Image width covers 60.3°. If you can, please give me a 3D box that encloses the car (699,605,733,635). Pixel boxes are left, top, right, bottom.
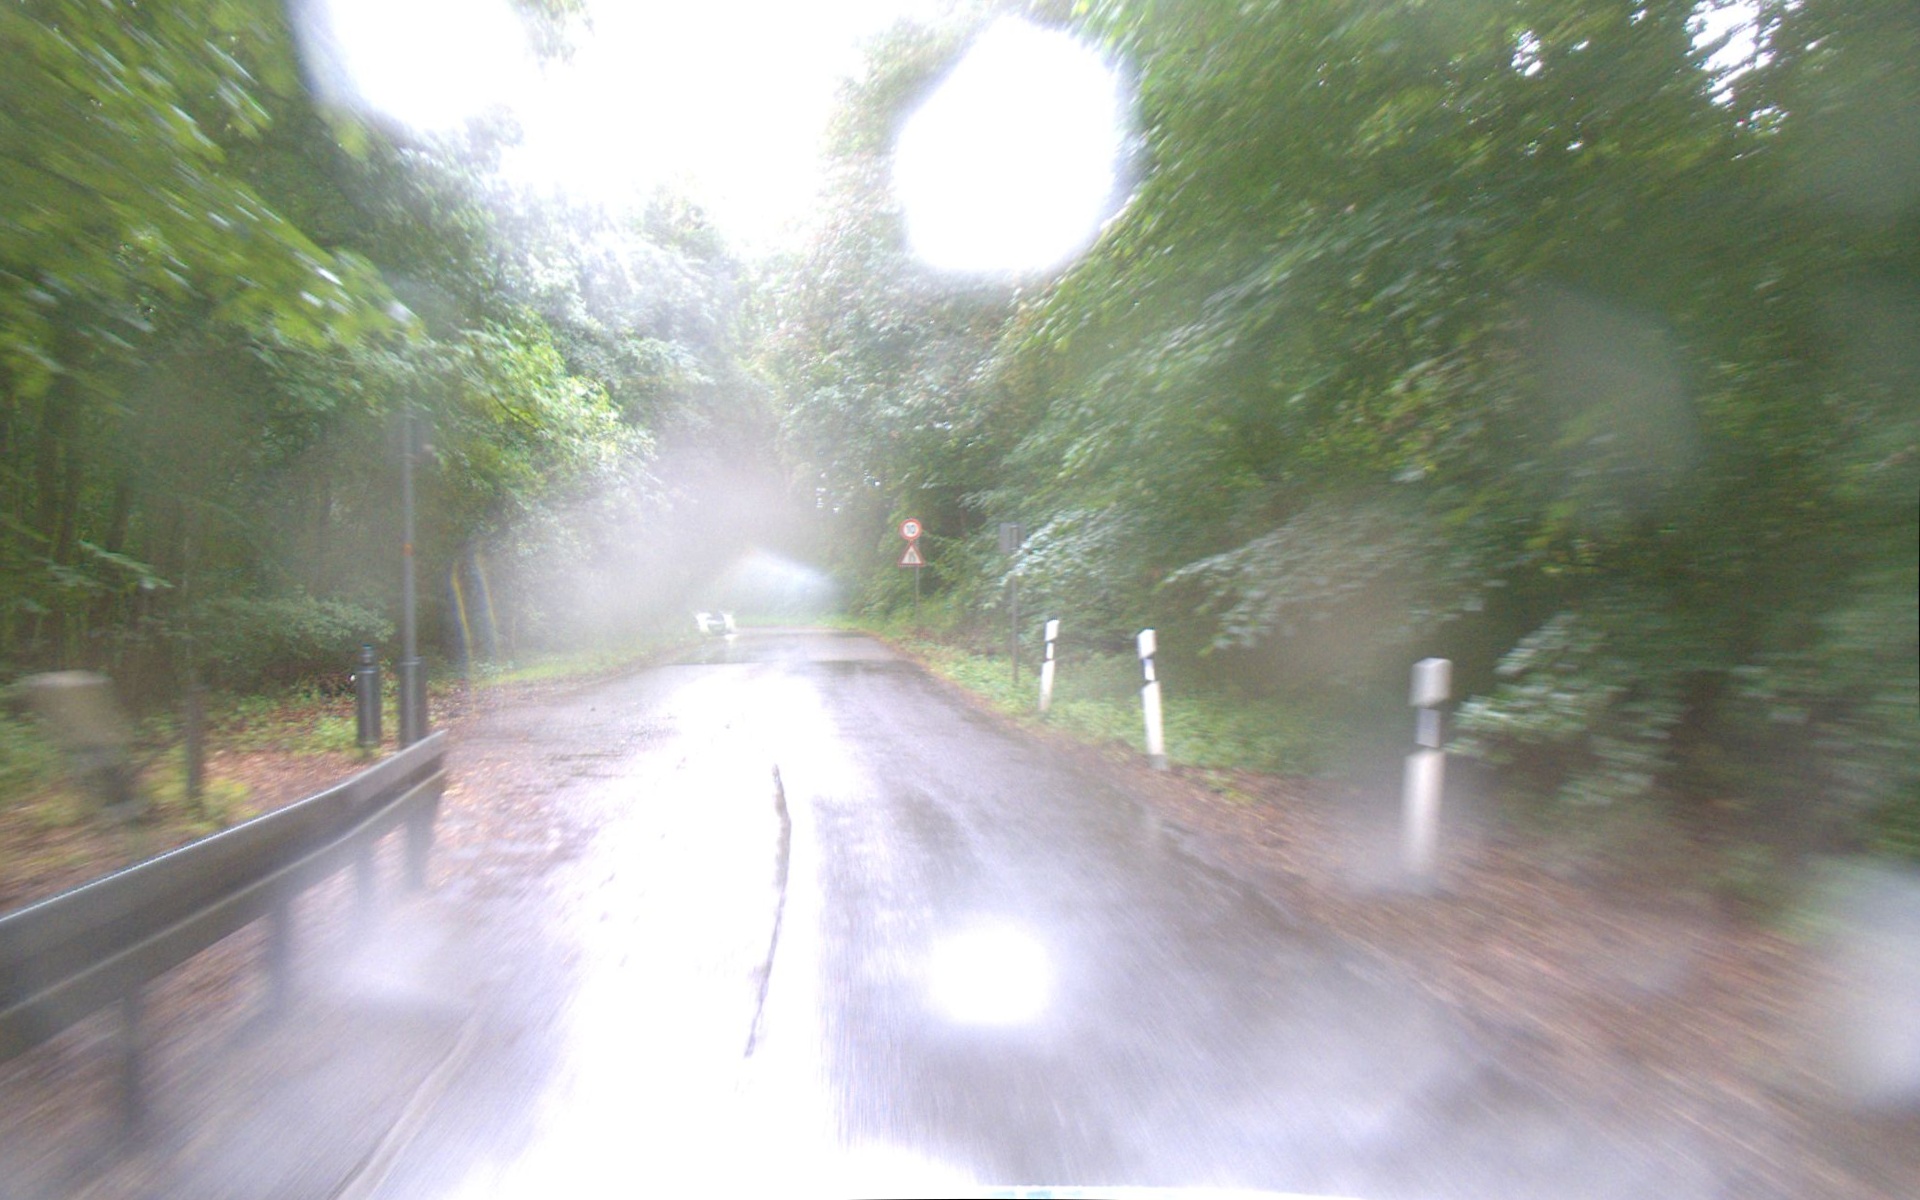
[{"bbox_3d":[-12.751,1.015,86.358,1.682,1.501,3.882,-2,0,-9],"label":"car"}]
